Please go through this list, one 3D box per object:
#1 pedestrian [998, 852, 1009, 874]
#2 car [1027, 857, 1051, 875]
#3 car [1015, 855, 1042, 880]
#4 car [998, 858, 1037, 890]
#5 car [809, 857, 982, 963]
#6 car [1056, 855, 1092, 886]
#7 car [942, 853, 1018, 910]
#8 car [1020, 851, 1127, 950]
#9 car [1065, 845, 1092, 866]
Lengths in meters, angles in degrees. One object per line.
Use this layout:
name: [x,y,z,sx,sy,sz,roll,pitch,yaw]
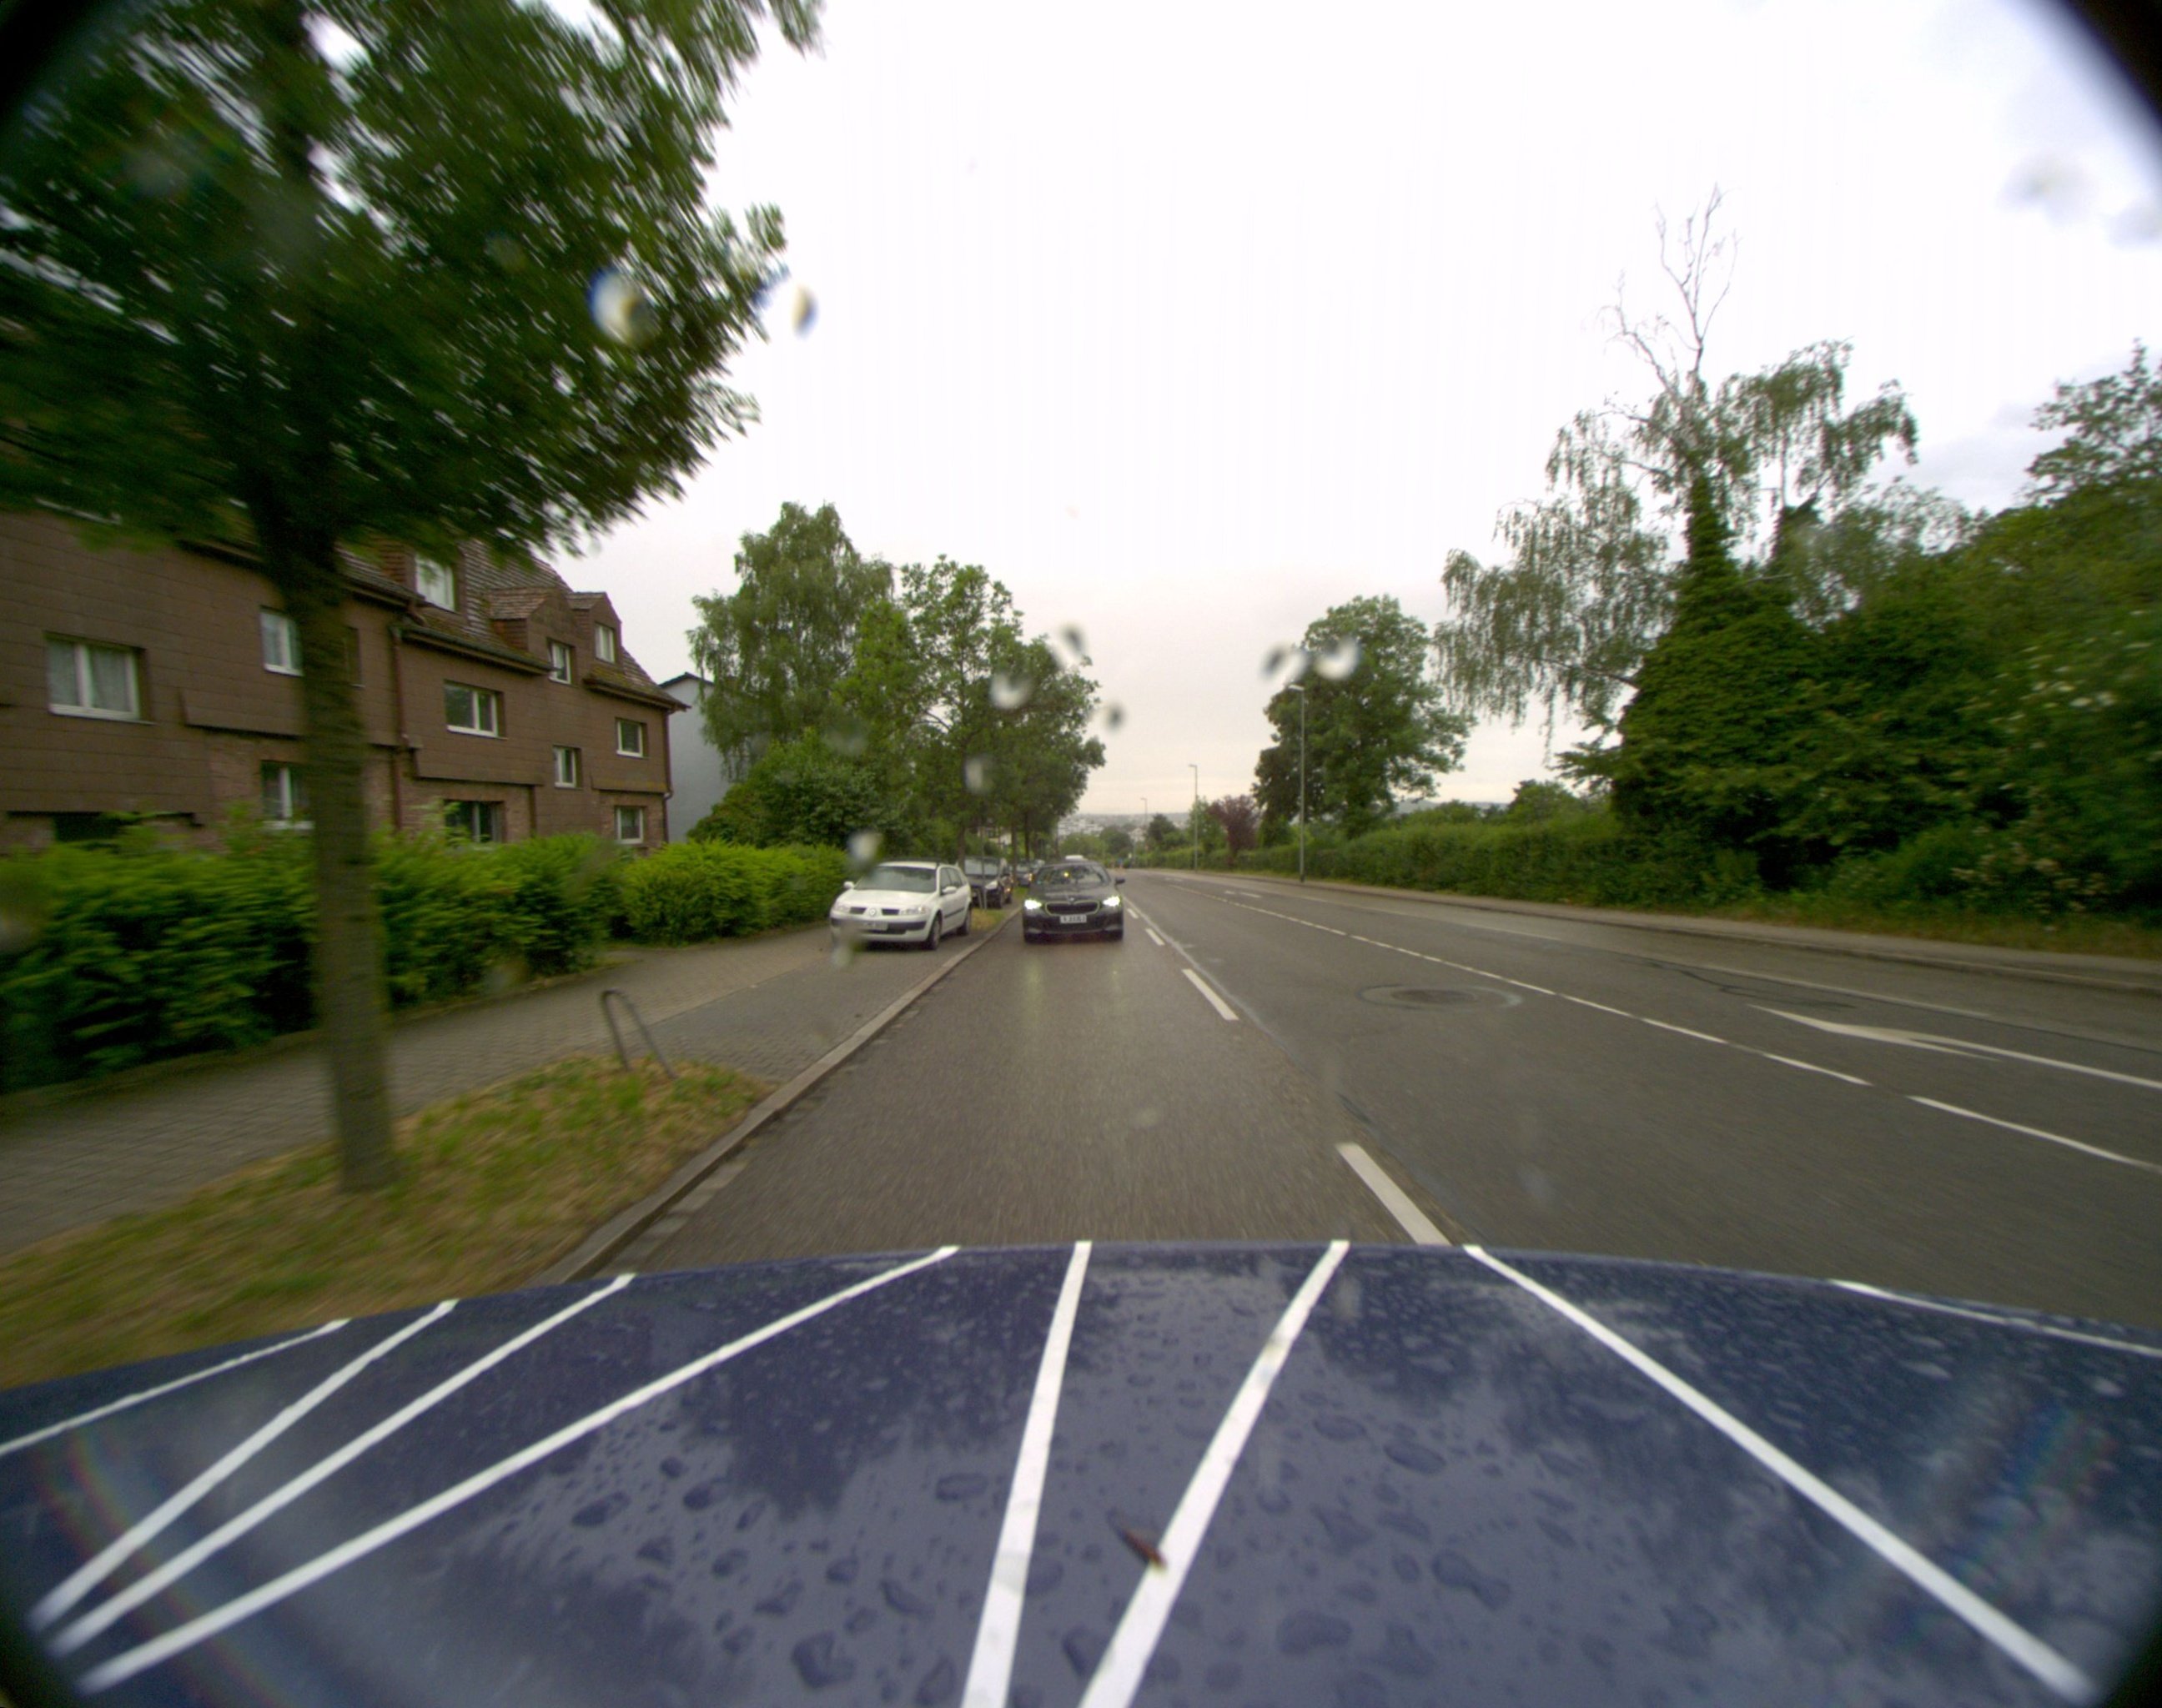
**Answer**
pedestrian: [-5.938,0.662,58.438,0.709,1.670,0.654,0,1,6]
car: [-3.462,0.981,63.646,1.803,1.513,4.591,1,0,-1]
car: [-3.522,0.895,51.179,1.646,1.586,4.013,1,0,-2]
car: [-3.113,0.962,37.800,1.726,1.503,3.785,1,0,-2]
car: [-3.195,0.881,14.096,1.828,1.593,4.475,1,0,4]
car: [-0.403,0.922,44.254,1.999,1.674,4.173,-1,0,0]
car: [-3.199,0.828,24.842,1.829,1.668,4.584,1,0,0]
car: [-0.118,0.823,15.628,1.829,1.668,4.296,-3,0,0]
car: [-0.246,0.116,65.413,1.999,1.674,4.172,-1,0,-4]
